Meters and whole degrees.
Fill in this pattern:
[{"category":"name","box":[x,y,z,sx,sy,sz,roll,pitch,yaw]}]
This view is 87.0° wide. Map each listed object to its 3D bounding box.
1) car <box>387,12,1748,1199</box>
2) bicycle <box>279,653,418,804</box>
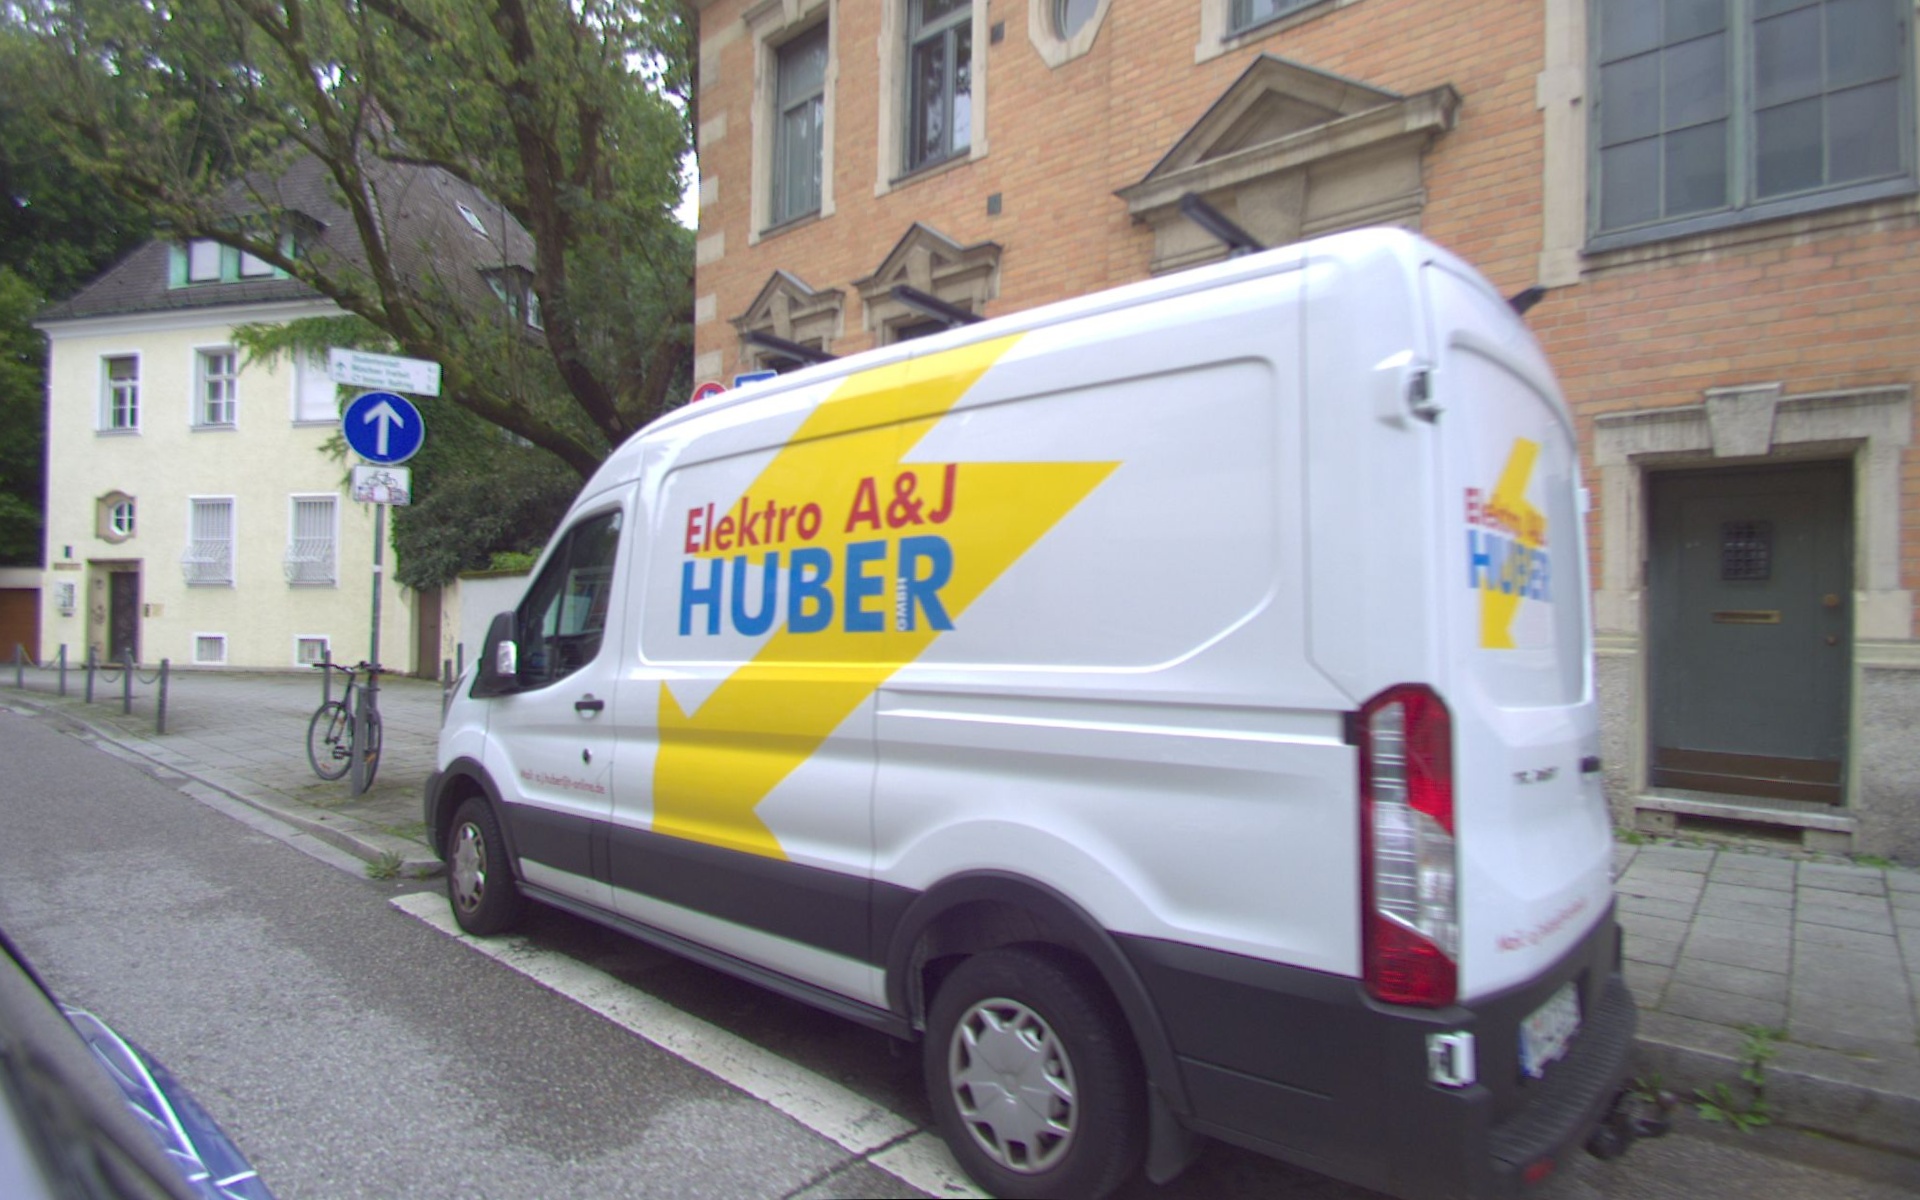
[{"category":"car","box":[-0.252,0.309,4.208,5.470,2.487,1.971,0,-3,42]},{"category":"bicycle","box":[-5.121,1.006,8.428,0.573,1.062,1.764,2,-2,-44]}]
